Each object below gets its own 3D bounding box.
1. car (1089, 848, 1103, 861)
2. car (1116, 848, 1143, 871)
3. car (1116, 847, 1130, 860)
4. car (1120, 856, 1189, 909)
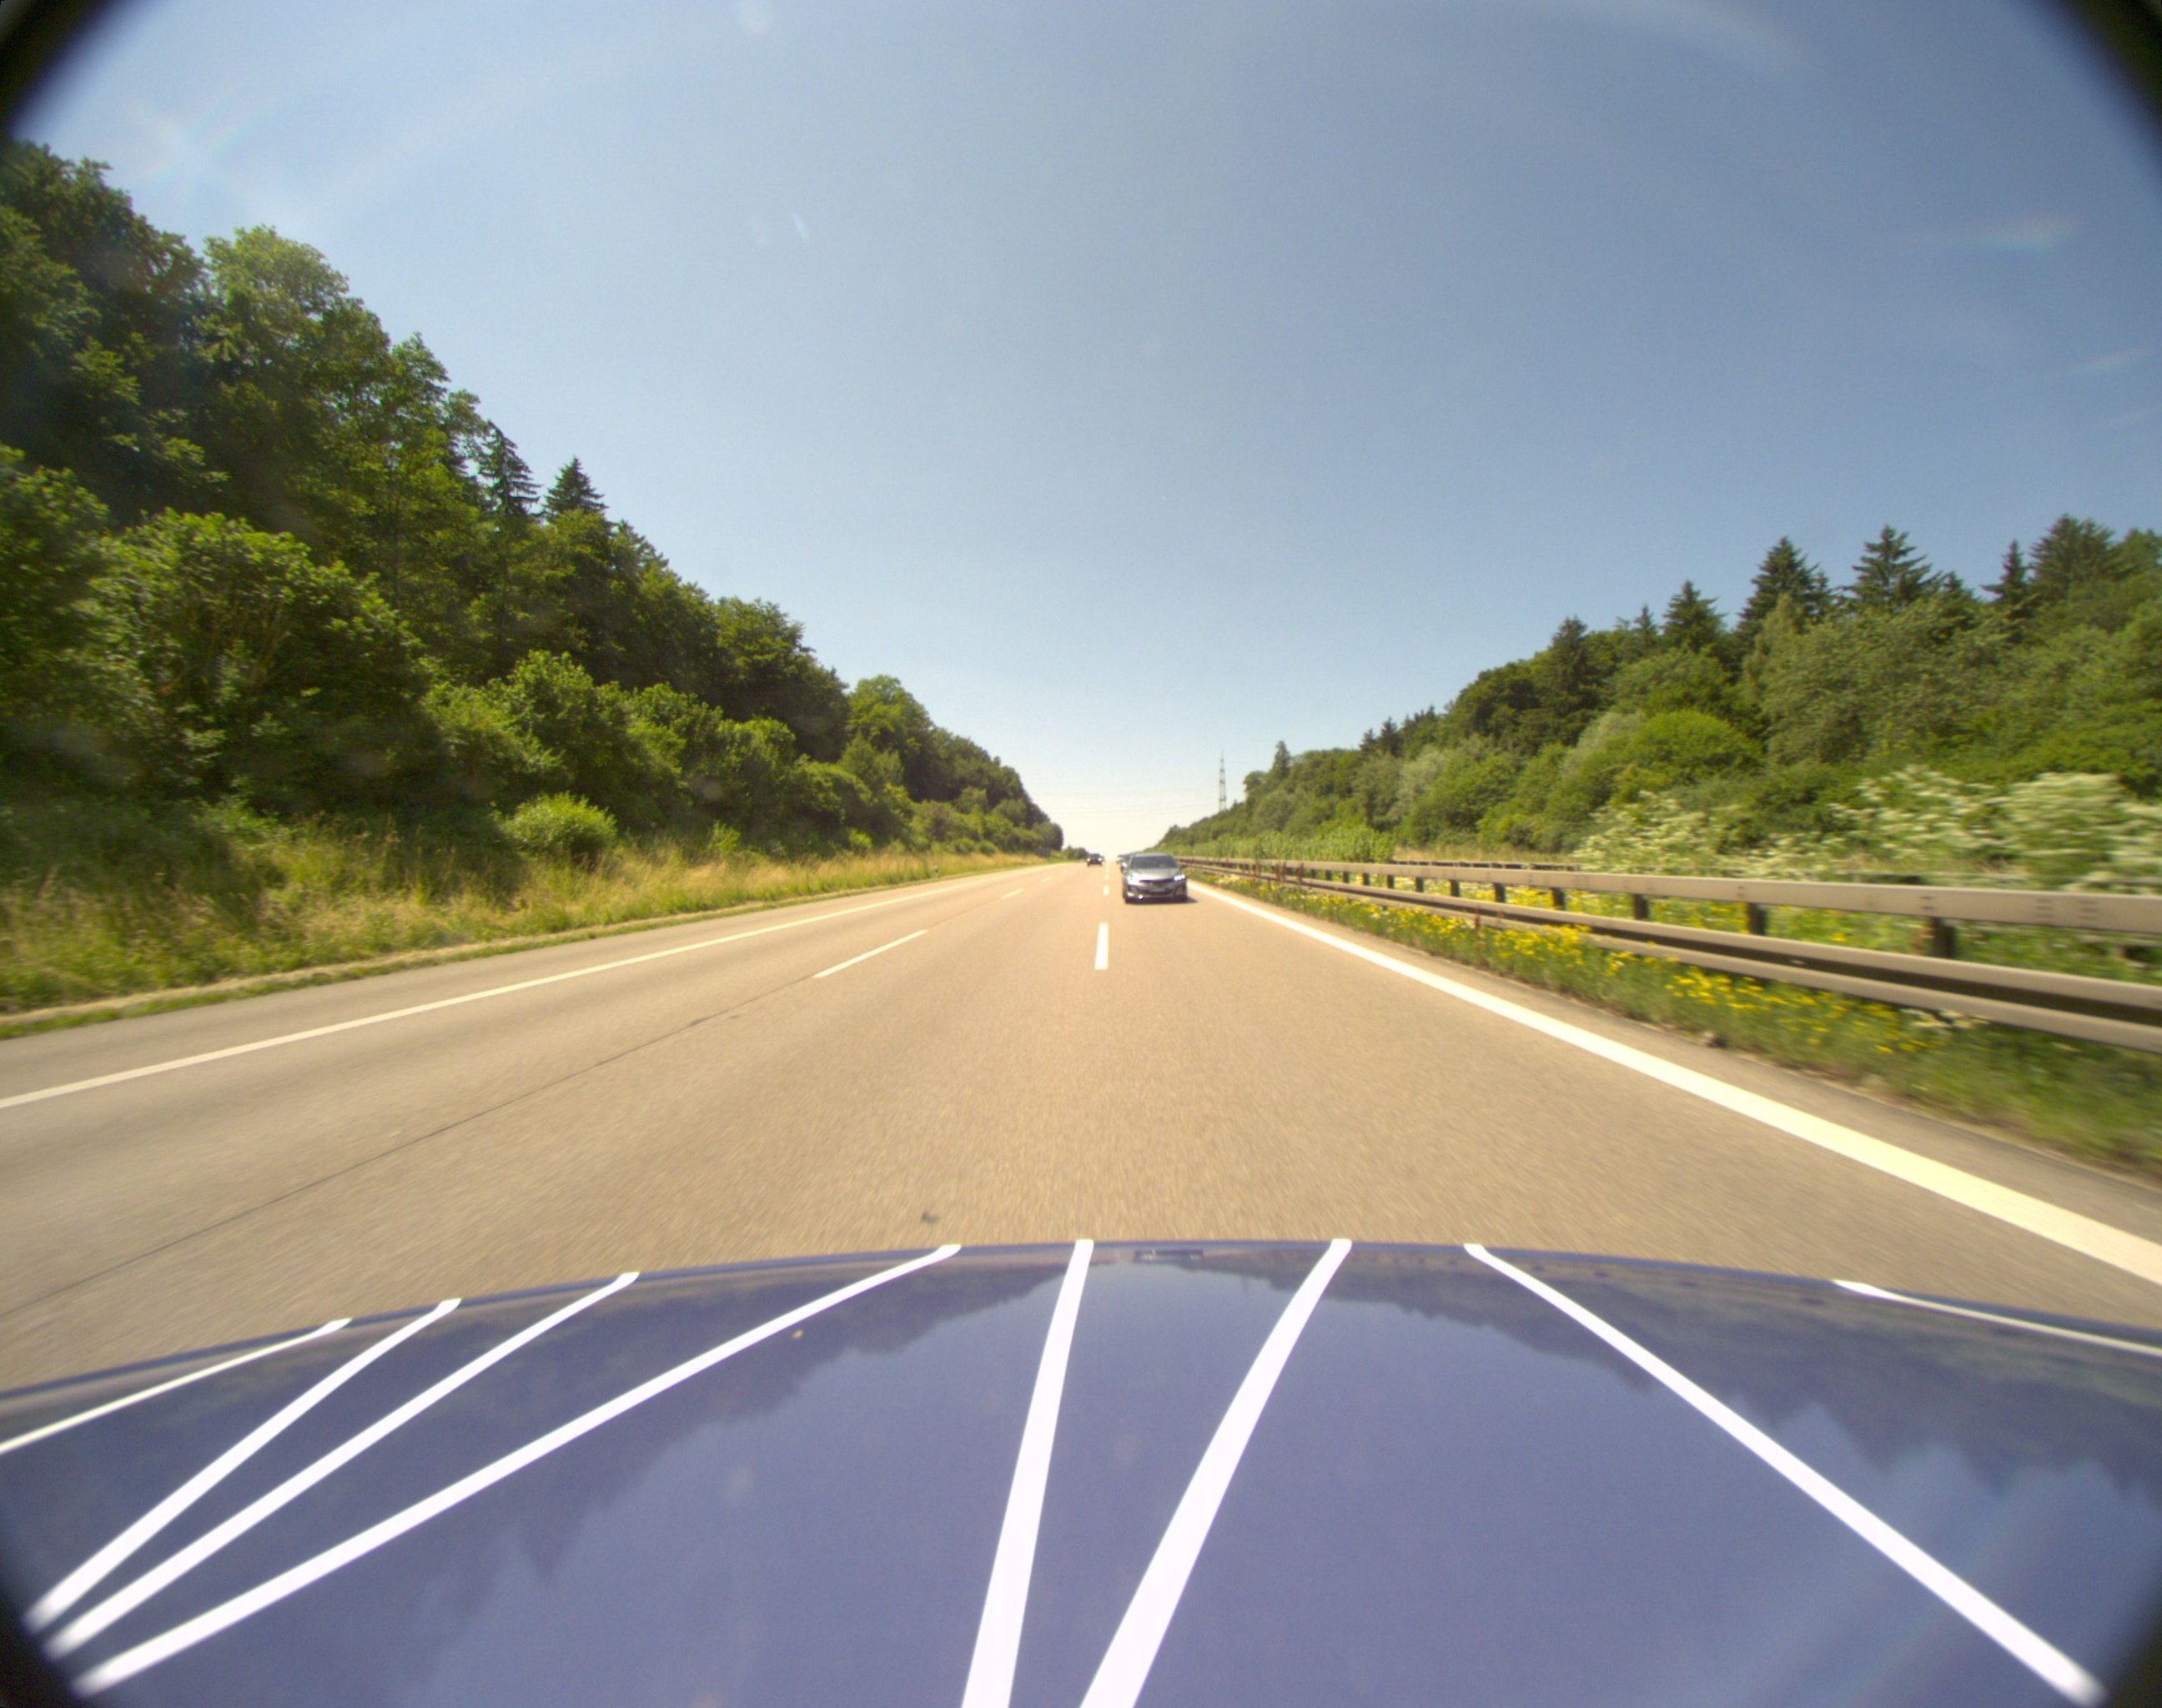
[{"bbox_3d":[1.902,0.049,96.807,1.787,1.550,3.943,-2,0,1],"label":"car"},{"bbox_3d":[3.654,0.431,57.520,1.741,1.610,3.943,-2,0,1],"label":"car"},{"bbox_3d":[6.408,-0.066,116.603,1.875,2.002,4.000,-2,0,1],"label":"car"},{"bbox_3d":[2.148,0.788,23.108,1.768,1.400,3.999,-2,0,2],"label":"car"}]
